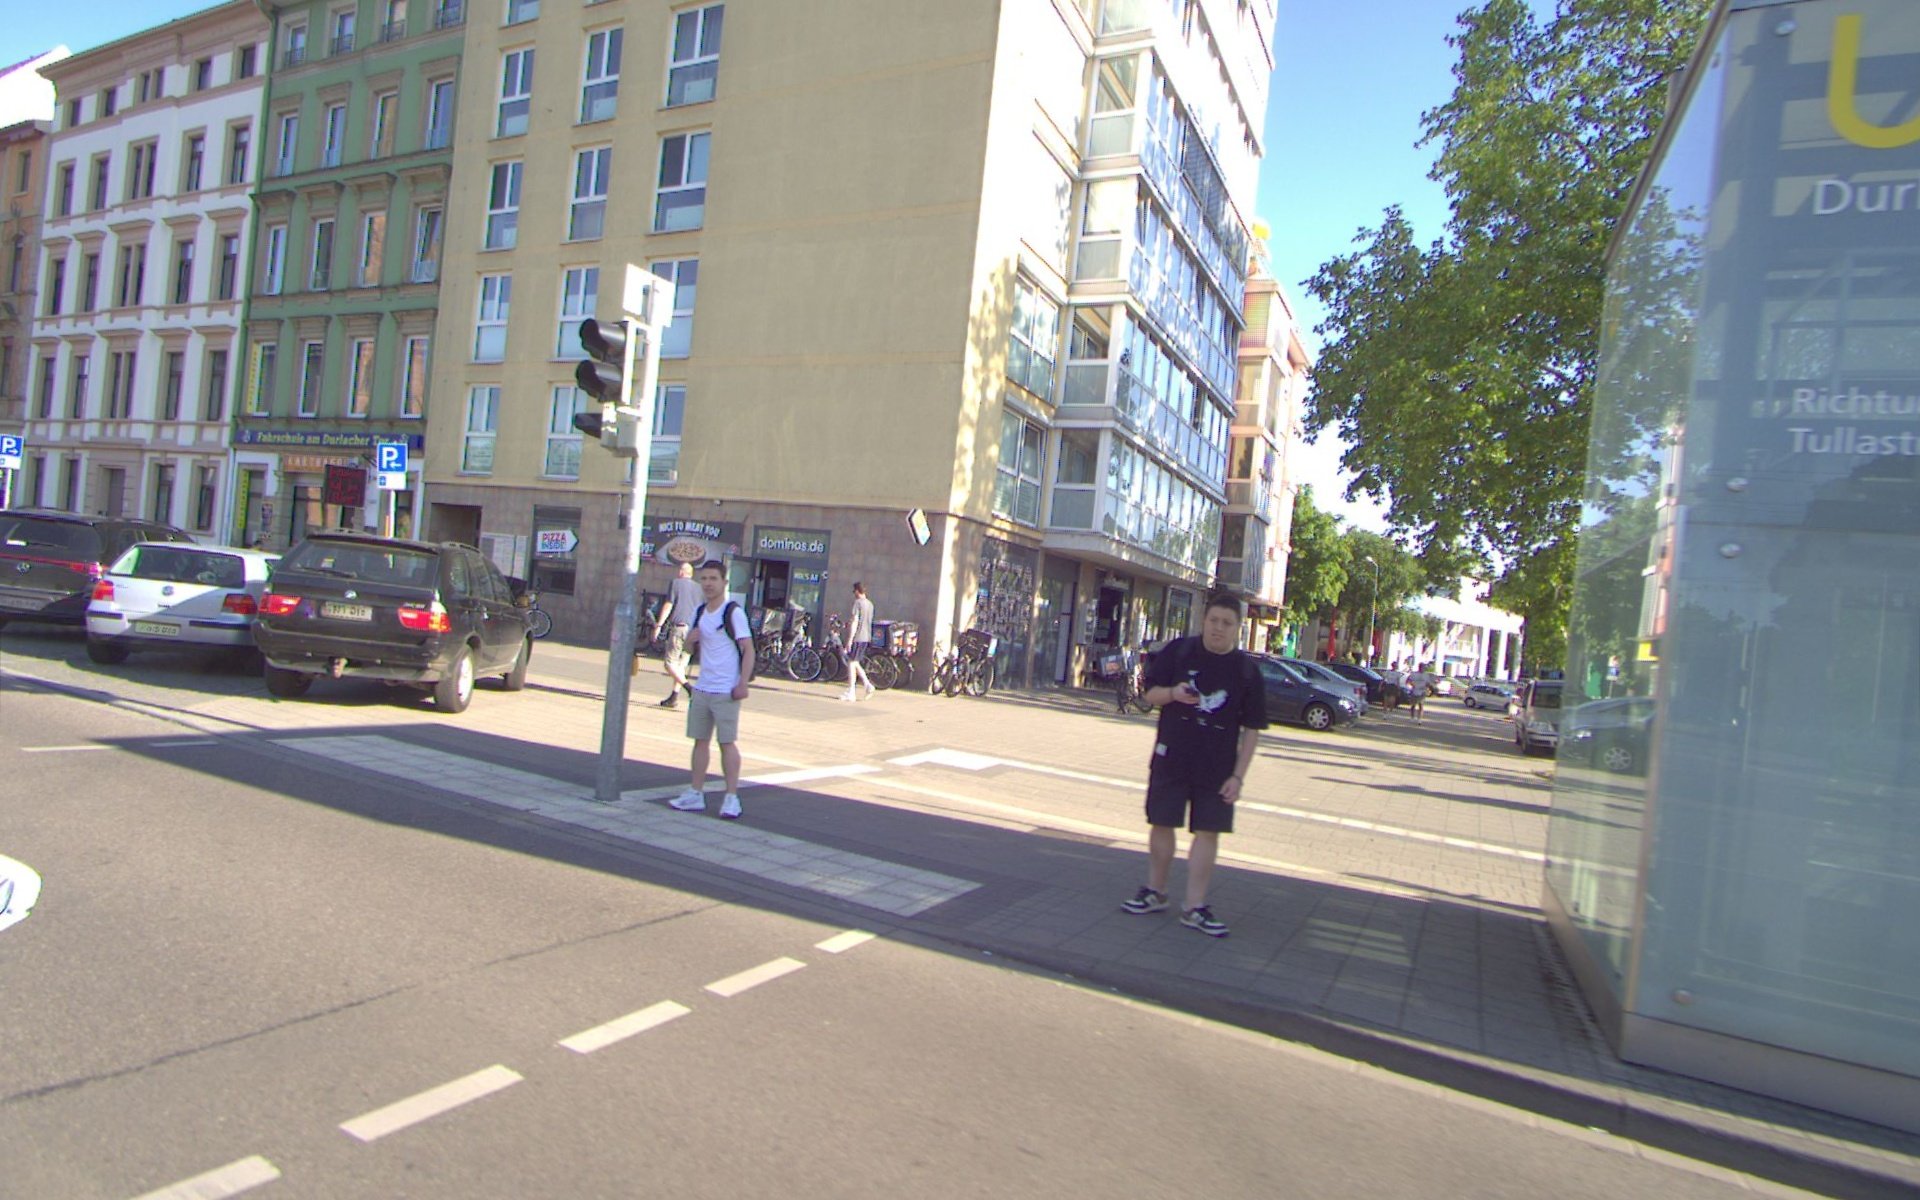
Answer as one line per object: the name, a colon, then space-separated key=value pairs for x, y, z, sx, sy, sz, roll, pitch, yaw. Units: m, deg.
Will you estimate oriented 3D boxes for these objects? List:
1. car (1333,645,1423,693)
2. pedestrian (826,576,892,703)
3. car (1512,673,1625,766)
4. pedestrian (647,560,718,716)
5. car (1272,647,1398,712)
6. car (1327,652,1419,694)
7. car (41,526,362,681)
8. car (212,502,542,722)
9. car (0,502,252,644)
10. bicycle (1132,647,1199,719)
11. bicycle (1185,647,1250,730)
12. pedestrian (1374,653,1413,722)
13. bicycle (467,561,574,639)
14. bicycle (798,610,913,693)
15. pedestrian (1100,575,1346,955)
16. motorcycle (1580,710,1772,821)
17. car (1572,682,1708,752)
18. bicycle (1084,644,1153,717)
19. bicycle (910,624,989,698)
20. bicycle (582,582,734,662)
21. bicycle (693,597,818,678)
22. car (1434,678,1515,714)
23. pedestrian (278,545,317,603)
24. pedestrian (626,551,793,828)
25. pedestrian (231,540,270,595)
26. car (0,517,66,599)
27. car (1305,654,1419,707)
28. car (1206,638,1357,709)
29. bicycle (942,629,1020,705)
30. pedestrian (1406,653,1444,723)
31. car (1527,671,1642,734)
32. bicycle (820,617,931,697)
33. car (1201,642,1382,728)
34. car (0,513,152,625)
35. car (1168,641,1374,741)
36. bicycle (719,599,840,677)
car: x=21.550 y=3.510 z=51.933 sx=3.931 sy=1.803 sz=1.853 roll=9 pitch=2 yaw=28
pedestrian: x=-1.583 y=0.616 z=15.881 sx=0.816 sy=1.889 sz=0.753 roll=6 pitch=0 yaw=-2
car: x=14.050 y=2.682 z=23.422 sx=1.889 sy=1.719 sz=3.993 roll=4 pitch=-1 yaw=28
pedestrian: x=-3.569 y=0.480 z=12.973 sx=0.687 sy=1.889 sz=0.751 roll=6 pitch=1 yaw=-14
car: x=13.706 y=2.845 z=36.807 sx=3.931 sy=1.656 sz=1.853 roll=9 pitch=2 yaw=28
car: x=20.606 y=3.599 z=50.212 sx=3.931 sy=1.438 sz=1.853 roll=9 pitch=2 yaw=28
car: x=-9.058 y=0.086 z=12.465 sx=1.762 sy=1.415 sz=3.883 roll=7 pitch=-3 yaw=-16
car: x=-6.274 y=0.146 z=11.474 sx=1.929 sy=1.835 sz=4.242 roll=7 pitch=-2 yaw=-13
car: x=-12.155 y=-0.370 z=14.320 sx=1.930 sy=1.616 sz=4.240 roll=7 pitch=-2 yaw=-15
bicycle: x=3.979 y=1.552 z=19.333 sx=0.800 sy=1.215 sz=1.996 roll=6 pitch=1 yaw=22
bicycle: x=4.836 y=1.614 z=18.813 sx=0.800 sy=1.363 sz=1.996 roll=6 pitch=1 yaw=22
pedestrian: x=12.544 y=2.527 z=29.102 sx=0.741 sy=1.889 sz=0.830 roll=6 pitch=1 yaw=31
bicycle: x=-9.610 y=0.004 z=21.977 sx=2.191 sy=1.375 sz=0.930 roll=9 pitch=3 yaw=31
bicycle: x=-1.870 y=0.901 z=17.951 sx=1.866 sy=1.265 sz=0.659 roll=6 pitch=1 yaw=25
pedestrian: x=1.315 y=0.800 z=5.212 sx=0.854 sy=1.749 sz=0.794 roll=6 pitch=0 yaw=-4
motorcycle: x=8.970 y=2.044 z=12.709 sx=1.772 sy=1.060 sz=0.880 roll=5 pitch=1 yaw=25
car: x=26.359 y=4.506 z=39.187 sx=3.929 sy=1.893 sz=1.854 roll=9 pitch=2 yaw=26
bicycle: x=3.131 y=1.532 z=19.732 sx=0.800 sy=1.264 sz=1.996 roll=6 pitch=1 yaw=22
bicycle: x=-0.161 y=1.118 z=18.862 sx=0.648 sy=1.264 sz=1.898 roll=6 pitch=1 yaw=24
bicycle: x=-6.171 y=0.442 z=20.494 sx=3.008 sy=1.279 sz=0.987 roll=6 pitch=0 yaw=27
bicycle: x=-3.831 y=0.690 z=18.803 sx=2.258 sy=1.265 sz=0.658 roll=6 pitch=1 yaw=26
car: x=31.480 y=5.855 z=61.606 sx=1.845 sy=1.438 sz=3.947 roll=6 pitch=3 yaw=-45
pedestrian: x=-16.232 y=-0.639 z=24.636 sx=0.582 sy=1.335 sz=0.515 roll=6 pitch=0 yaw=35
pedestrian: x=-1.721 y=0.595 z=7.000 sx=0.739 sy=1.749 sz=0.698 roll=6 pitch=0 yaw=11
pedestrian: x=-18.501 y=-0.850 z=26.237 sx=0.581 sy=1.335 sz=0.516 roll=6 pitch=0 yaw=21
car: x=-18.210 y=-0.857 z=17.671 sx=1.930 sy=1.482 sz=4.103 roll=6 pitch=-1 yaw=-13
car: x=16.293 y=3.202 z=40.795 sx=3.931 sy=1.438 sz=1.853 roll=9 pitch=2 yaw=28
car: x=9.734 y=2.166 z=30.493 sx=3.931 sy=1.438 sz=1.853 roll=9 pitch=2 yaw=28
bicycle: x=0.422 y=1.208 z=18.579 sx=0.648 sy=1.264 sz=1.898 roll=6 pitch=1 yaw=24
pedestrian: x=13.240 y=2.501 z=28.638 sx=0.741 sy=1.889 sz=0.830 roll=6 pitch=1 yaw=31
car: x=27.560 y=4.485 z=44.549 sx=3.929 sy=2.025 sz=1.854 roll=9 pitch=2 yaw=26
bicycle: x=-1.572 y=1.031 z=18.595 sx=1.866 sy=1.265 sz=0.659 roll=6 pitch=1 yaw=25
car: x=8.352 y=2.088 z=25.412 sx=3.931 sy=1.438 sz=1.853 roll=9 pitch=2 yaw=28
car: x=-15.076 y=-0.554 z=15.925 sx=1.931 sy=1.589 sz=4.239 roll=7 pitch=-2 yaw=-16
car: x=7.104 y=2.000 z=23.027 sx=4.151 sy=1.502 sz=1.854 roll=9 pitch=2 yaw=25
bicycle: x=-3.505 y=0.721 z=19.469 sx=2.258 sy=1.265 sz=0.658 roll=6 pitch=1 yaw=26
